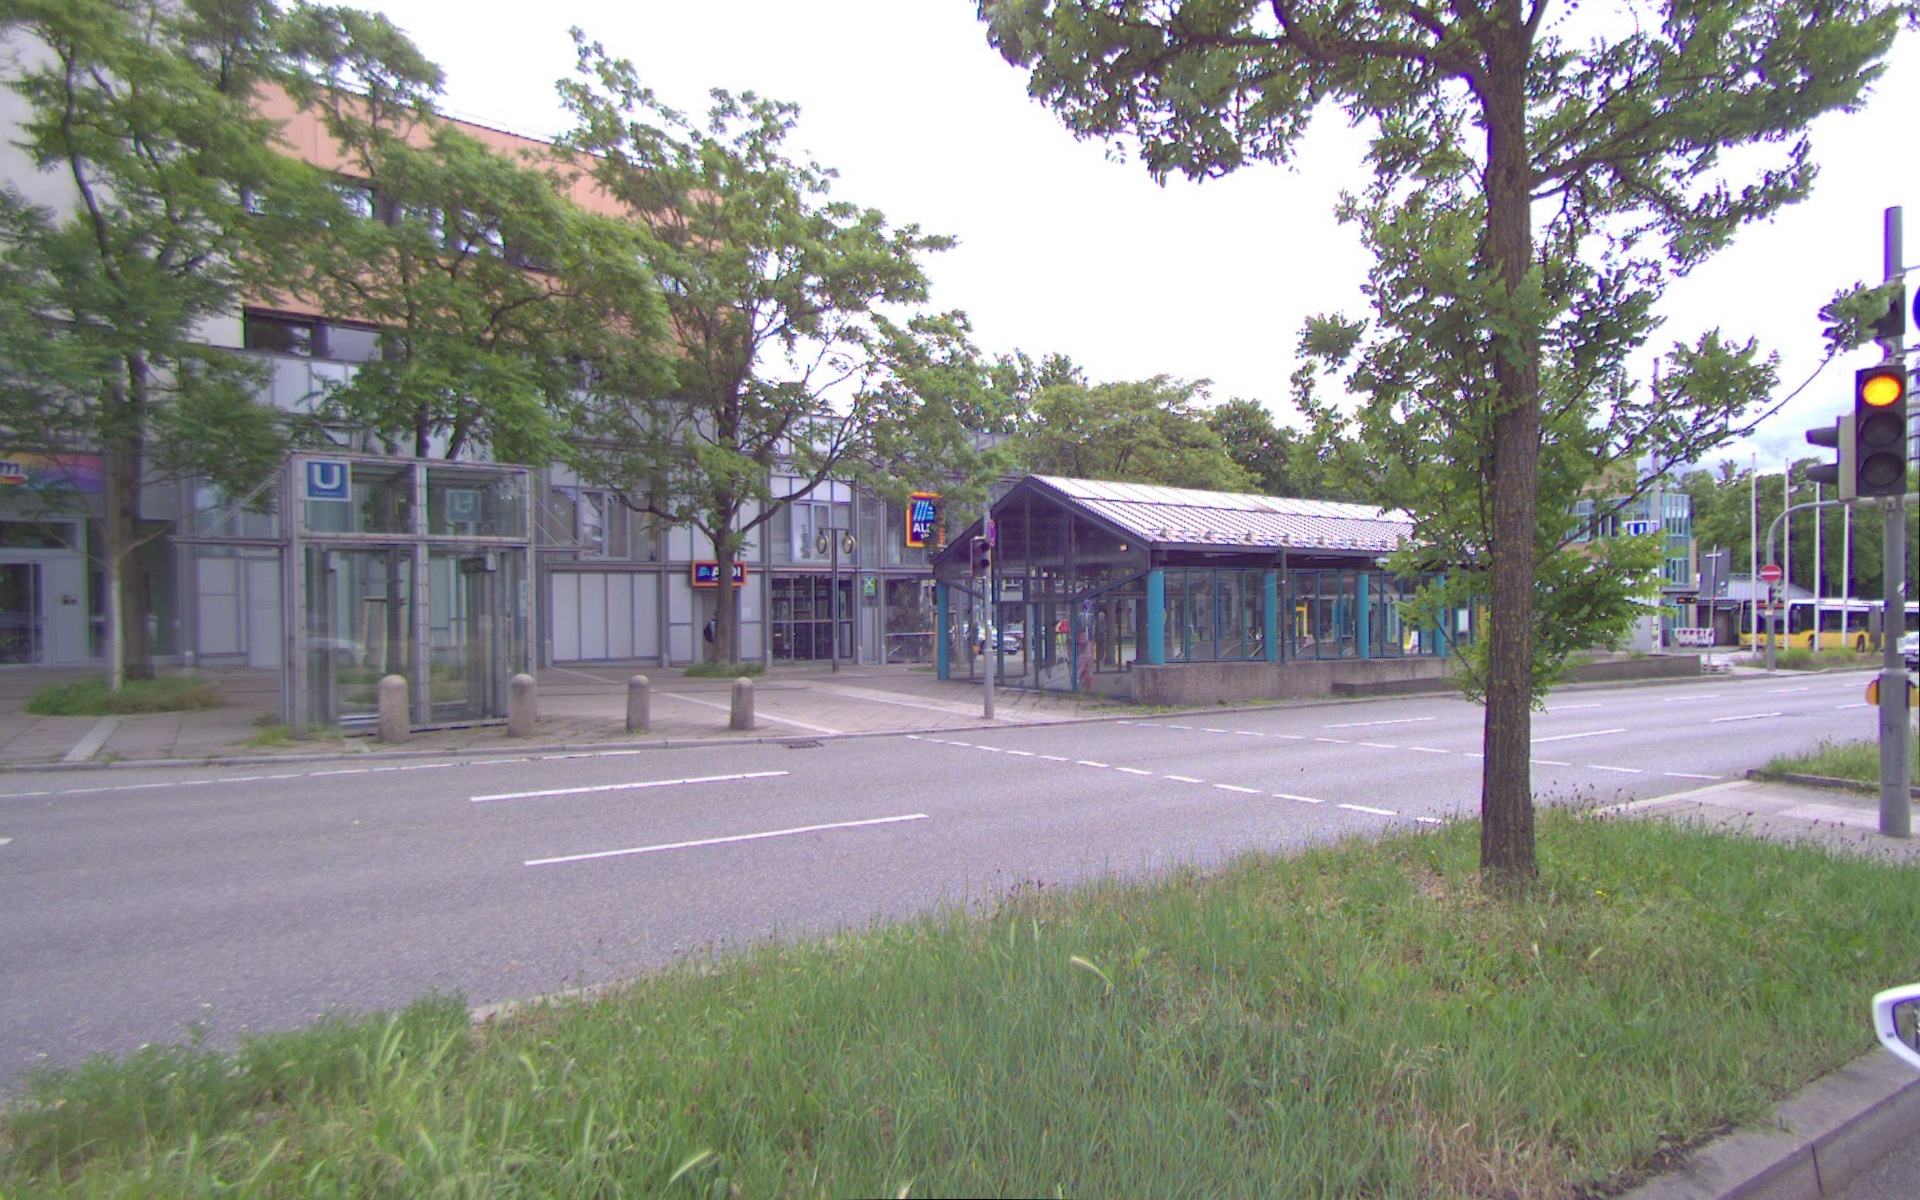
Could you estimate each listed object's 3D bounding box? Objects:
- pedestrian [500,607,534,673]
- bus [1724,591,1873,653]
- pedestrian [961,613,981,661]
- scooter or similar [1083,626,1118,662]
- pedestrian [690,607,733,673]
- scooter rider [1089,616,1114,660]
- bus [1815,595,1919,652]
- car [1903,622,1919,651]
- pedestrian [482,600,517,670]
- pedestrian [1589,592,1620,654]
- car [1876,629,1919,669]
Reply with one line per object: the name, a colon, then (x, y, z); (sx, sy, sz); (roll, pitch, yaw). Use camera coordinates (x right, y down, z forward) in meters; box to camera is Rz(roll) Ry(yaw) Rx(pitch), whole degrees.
pedestrian: (-11.096, 0.991, 25.163); (0.674, 1.610, 0.513); (1, -1, -39)
bus: (50.065, 1.337, 59.864); (10.592, 3.476, 2.822); (1, -1, -26)
pedestrian: (0.399, 1.378, 37.381); (0.693, 1.739, 0.772); (2, 1, 1)
scooter or similar: (5.116, 1.597, 36.591); (1.276, 1.284, 0.476); (1, 2, -37)
pedestrian: (-6.828, 1.088, 27.546); (0.879, 1.739, 0.764); (1, 2, -39)
scooter rider: (5.144, 1.365, 36.606); (0.700, 1.566, 0.521); (1, 2, -37)
bus: (59.334, 1.538, 64.505); (10.592, 3.476, 2.822); (1, -1, -26)
car: (57.497, 2.130, 59.112); (3.951, 1.684, 1.798); (1, -1, -29)
pedestrian: (-11.684, 0.883, 25.484); (0.674, 1.750, 0.560); (1, -1, -39)
pedestrian: (21.669, 0.769, 33.780); (0.639, 2.040, 0.677); (1, -1, -34)
car: (37.875, 1.910, 39.330); (3.955, 1.505, 1.983); (1, -1, -32)
